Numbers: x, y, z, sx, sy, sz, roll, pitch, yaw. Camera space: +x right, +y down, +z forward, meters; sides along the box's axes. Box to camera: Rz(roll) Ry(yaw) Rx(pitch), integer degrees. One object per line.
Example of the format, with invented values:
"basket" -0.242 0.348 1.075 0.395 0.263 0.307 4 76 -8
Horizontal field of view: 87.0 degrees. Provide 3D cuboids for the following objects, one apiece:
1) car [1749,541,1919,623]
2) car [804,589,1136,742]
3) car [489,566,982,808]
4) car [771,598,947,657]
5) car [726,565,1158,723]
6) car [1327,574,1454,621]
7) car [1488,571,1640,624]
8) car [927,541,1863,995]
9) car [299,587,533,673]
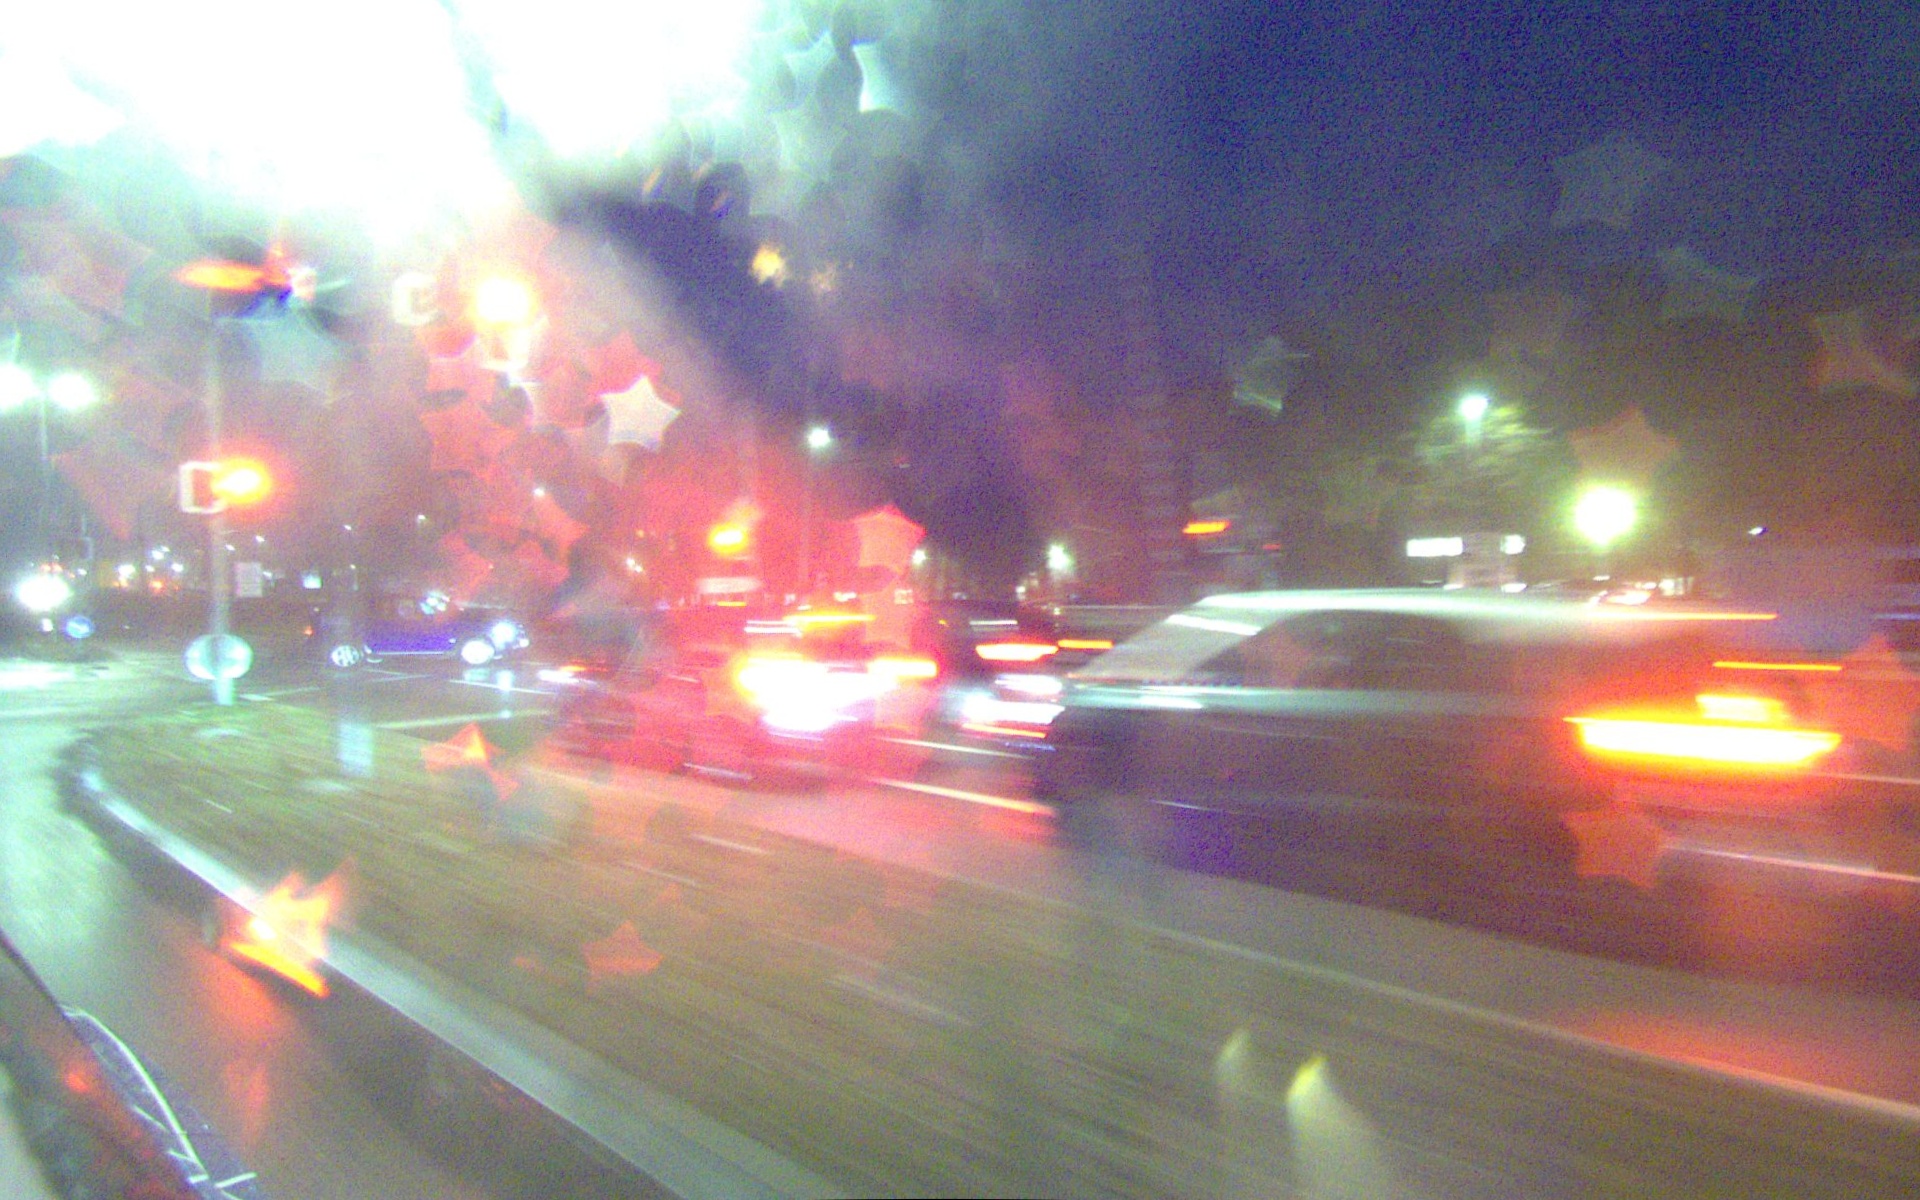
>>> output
"car" 27.515 -0.517 30.243 6.023 2.325 1.971 -1 0 44
"car" 0.030 0.644 11.826 3.601 1.463 1.803 0 1 43
"car" -2.343 0.599 9.562 5.011 1.711 1.973 0 1 41
"car" -2.720 0.703 27.508 4.426 1.375 1.672 -2 1 -25
"car" -0.404 0.453 12.612 5.158 1.568 2.334 -1 0 42
"car" 15.808 -0.076 37.366 3.960 1.603 1.992 -1 0 13
"car" 21.030 -0.075 35.351 4.436 1.706 1.831 -1 0 34
"car" 2.098 0.570 5.737 4.465 1.582 1.936 0 1 41
"car" -12.705 0.666 23.926 4.452 1.858 2.004 -1 0 -8
